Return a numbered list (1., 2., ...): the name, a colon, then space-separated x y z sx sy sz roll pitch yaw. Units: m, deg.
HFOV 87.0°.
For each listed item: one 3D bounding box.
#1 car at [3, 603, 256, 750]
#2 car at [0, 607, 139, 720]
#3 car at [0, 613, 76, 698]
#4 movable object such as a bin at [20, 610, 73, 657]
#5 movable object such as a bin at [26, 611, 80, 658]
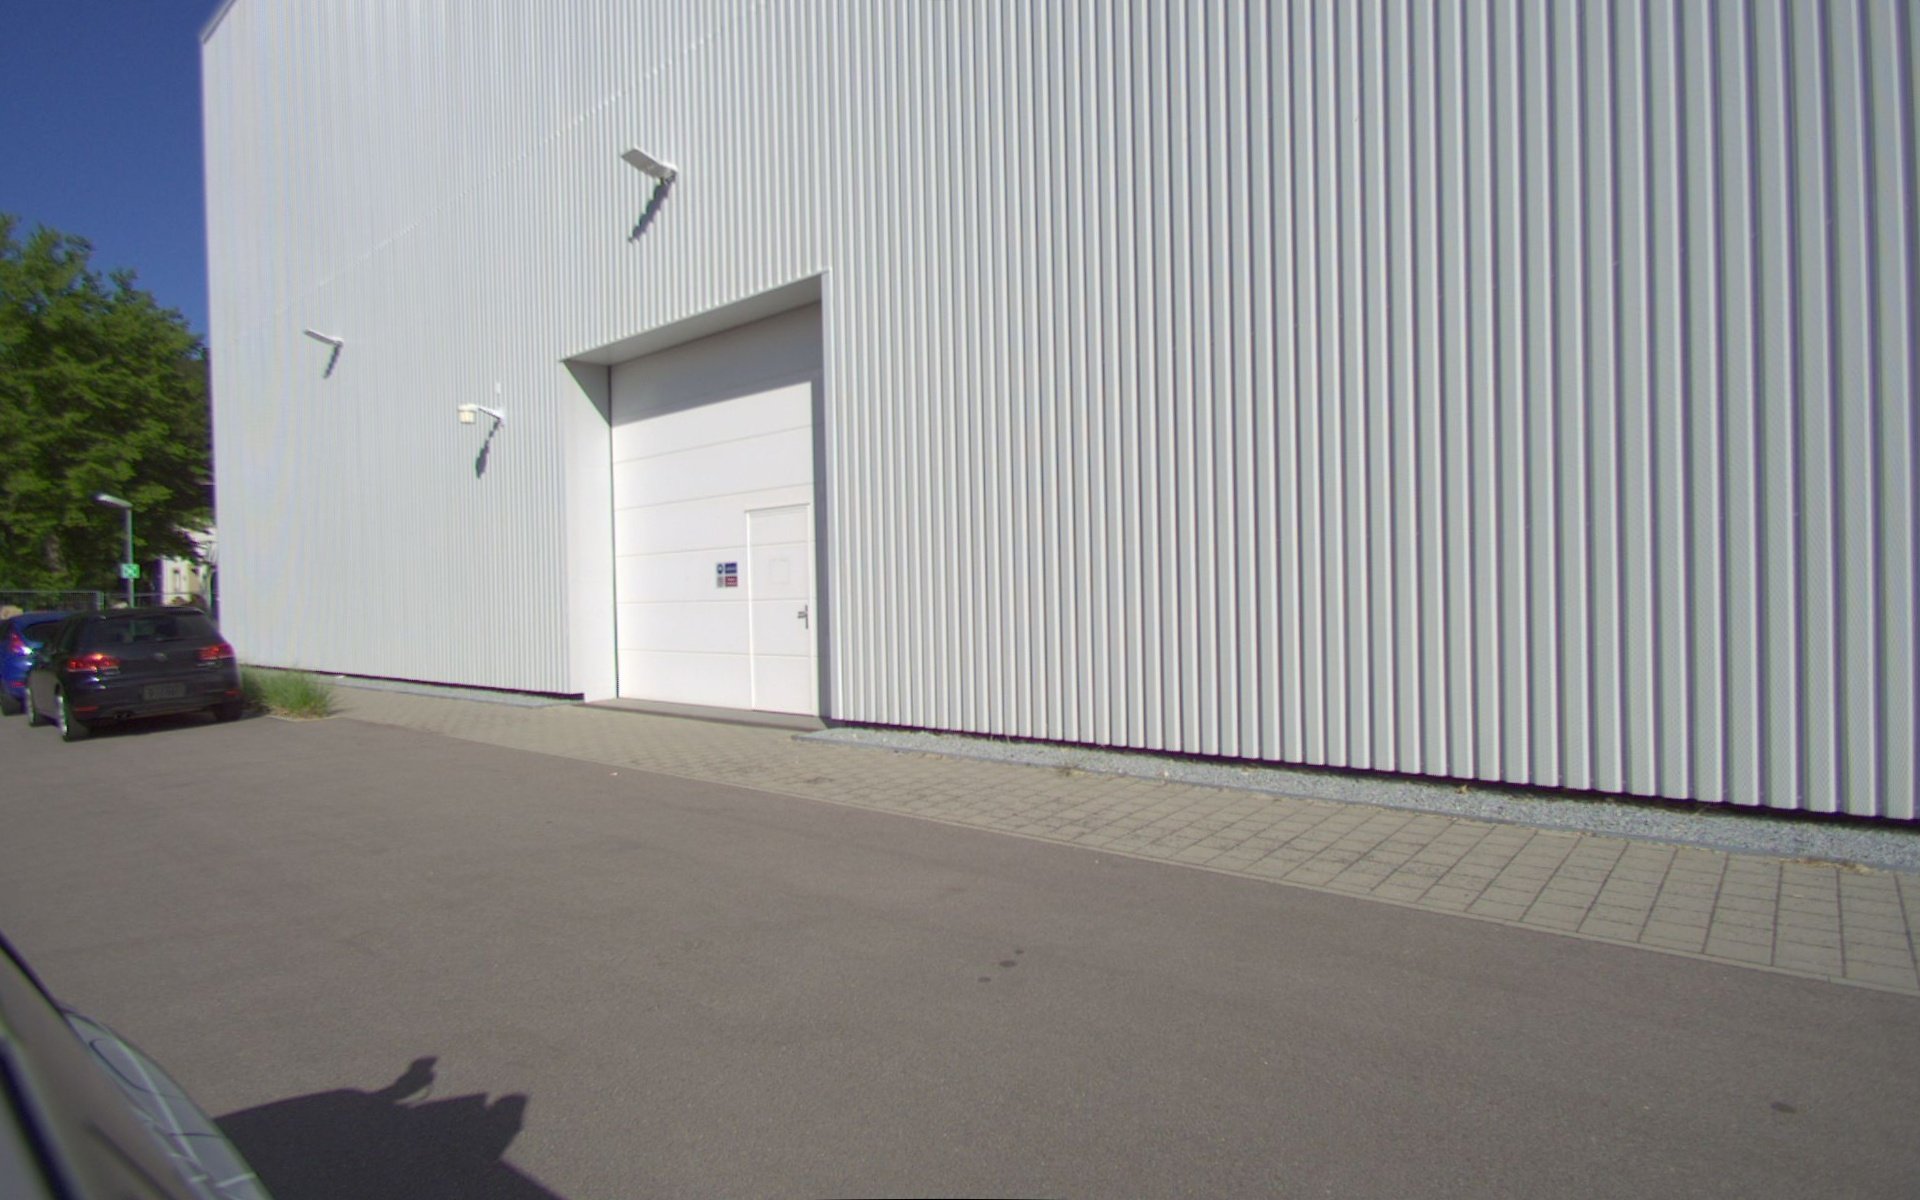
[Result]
1. car: -10.646 0.870 12.855 4.312 1.456 1.738 -2 2 41
2. car: -14.320 0.940 15.853 3.518 1.499 1.533 -2 1 39
3. car: -18.519 1.059 19.414 3.794 1.459 1.695 -2 1 39
4. movable object such as a bin: -29.602 1.094 32.804 1.279 1.489 1.126 -3 -3 41
5. movable object such as a bin: -28.582 1.067 31.900 1.288 1.445 1.126 -2 -2 41
